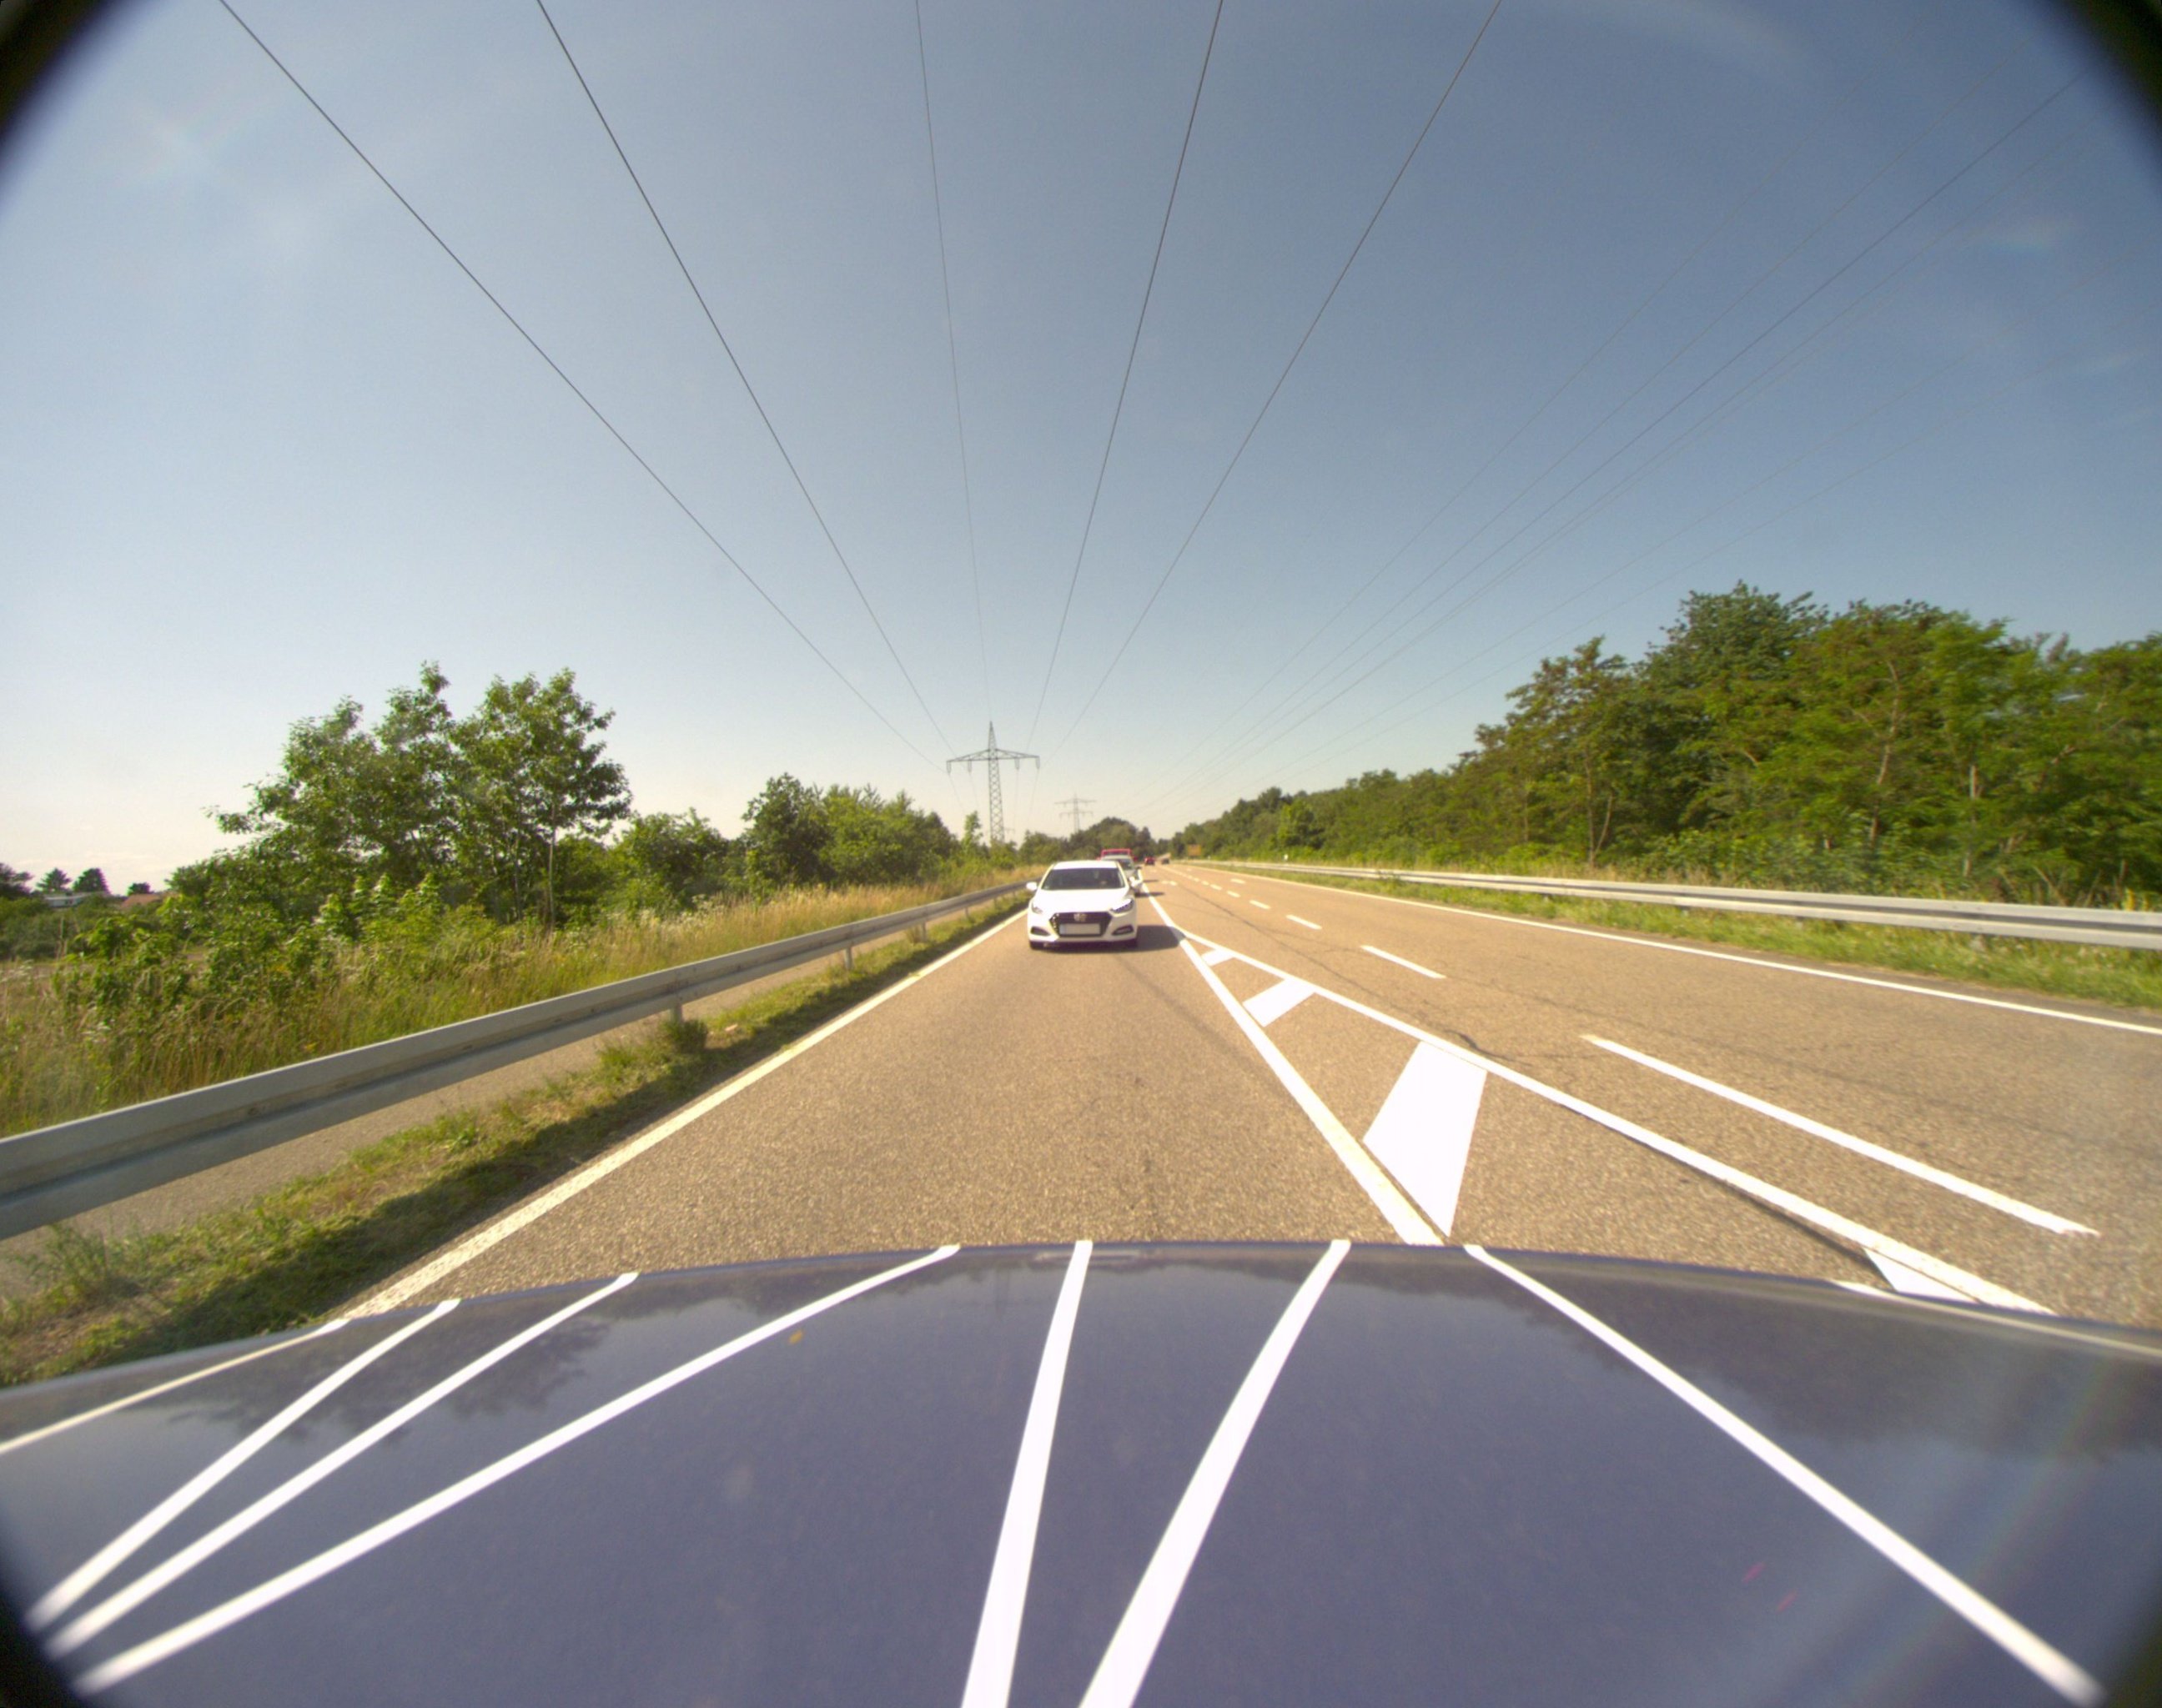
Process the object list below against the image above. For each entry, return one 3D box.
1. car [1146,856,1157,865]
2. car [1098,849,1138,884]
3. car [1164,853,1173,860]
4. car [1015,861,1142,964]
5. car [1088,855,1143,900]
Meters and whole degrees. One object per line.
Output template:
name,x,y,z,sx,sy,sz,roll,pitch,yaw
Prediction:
car,12.795,1.151,137.628,1.833,1.574,4.001,-1,0,3
car,2.178,0.705,45.861,2.126,1.934,5.019,-2,0,1
car,19.670,0.638,170.757,1.832,1.574,4.002,-1,0,6
car,0.049,0.936,14.260,1.922,1.496,4.794,-2,0,2
car,1.329,0.862,29.794,1.922,1.540,4.794,-2,0,2
